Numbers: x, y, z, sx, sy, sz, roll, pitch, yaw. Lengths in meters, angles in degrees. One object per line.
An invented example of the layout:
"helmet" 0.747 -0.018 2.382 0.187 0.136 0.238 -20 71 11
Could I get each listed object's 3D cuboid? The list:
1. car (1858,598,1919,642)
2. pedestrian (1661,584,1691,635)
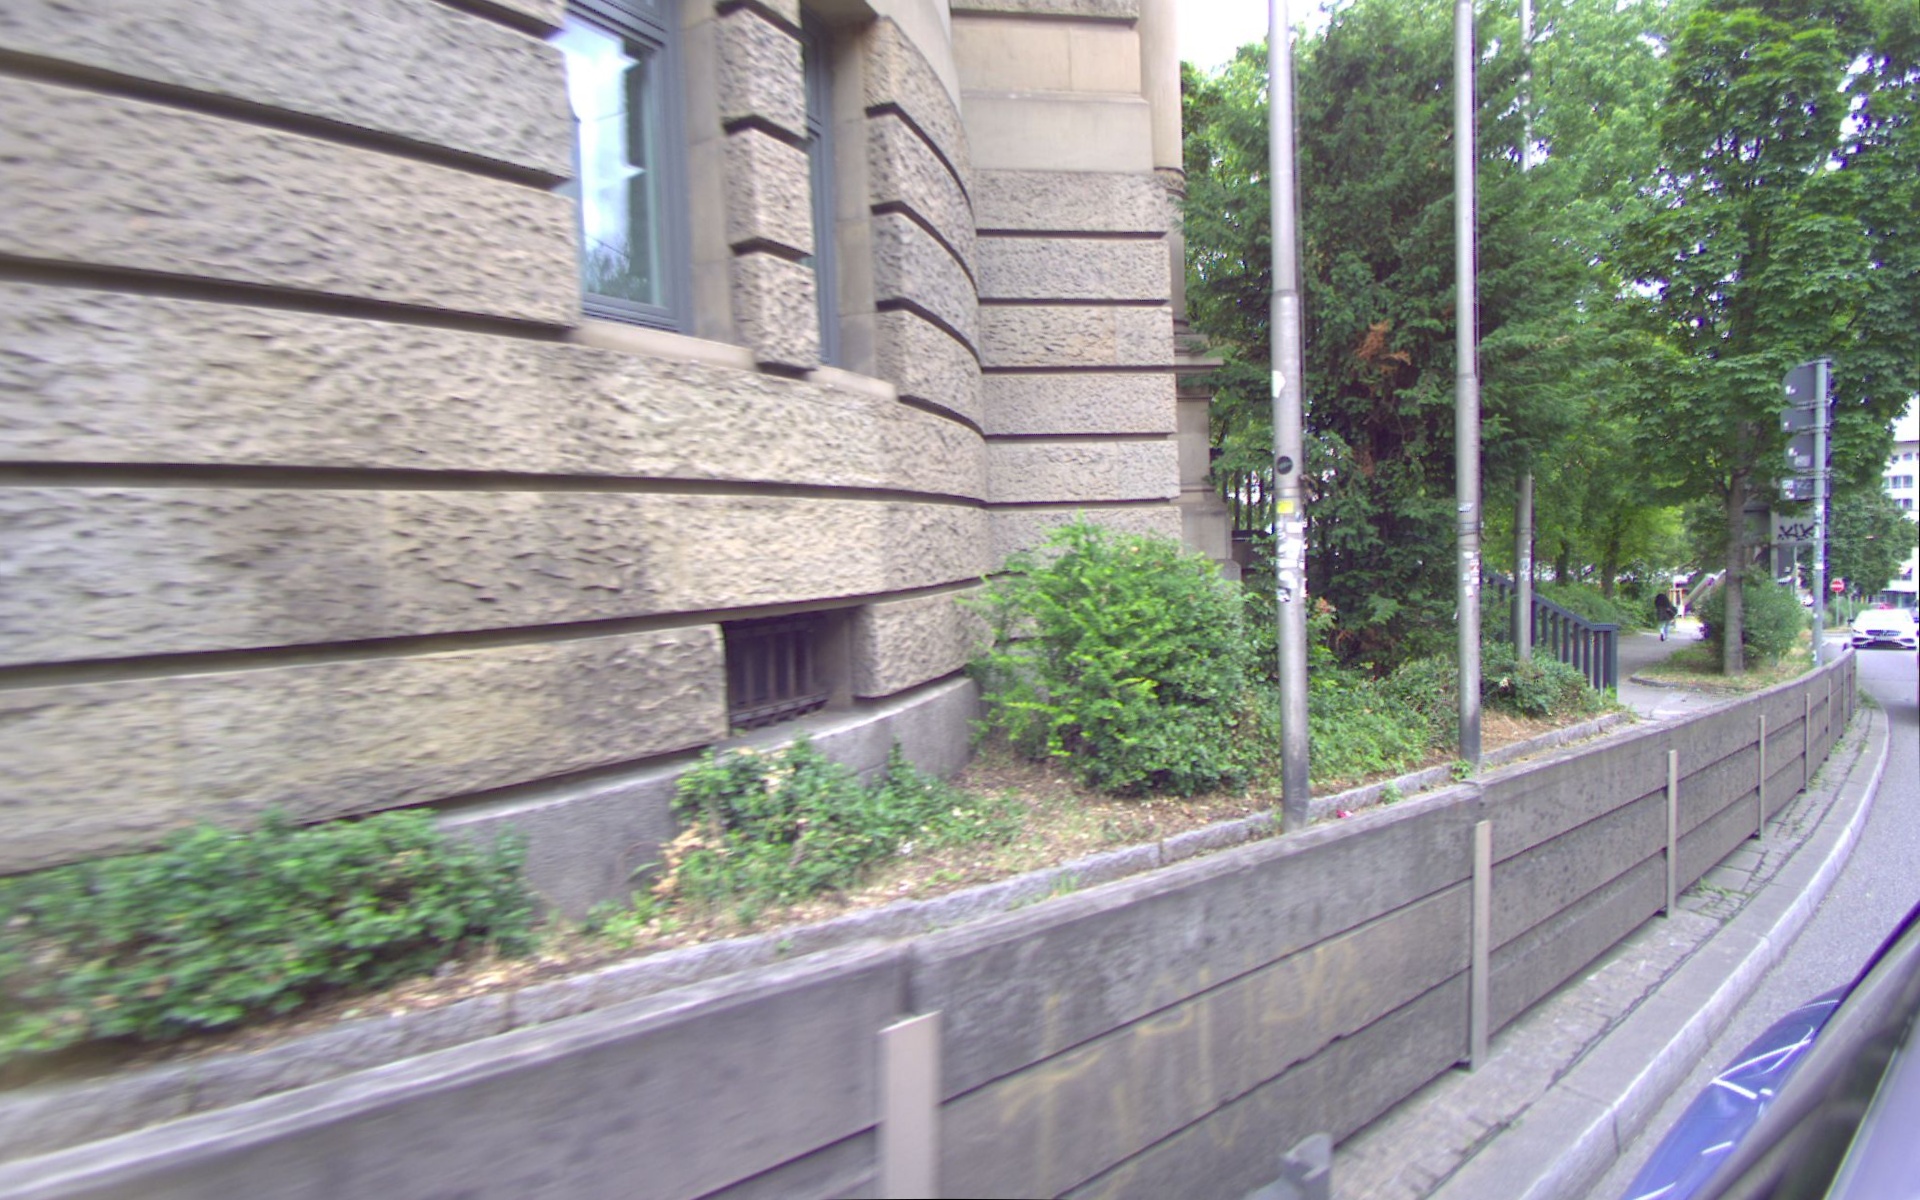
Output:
"car" 33.758 0.685 36.428 3.788 1.467 1.819 1 1 -43
"pedestrian" 24.644 0.322 34.848 0.770 1.724 0.774 1 0 40
